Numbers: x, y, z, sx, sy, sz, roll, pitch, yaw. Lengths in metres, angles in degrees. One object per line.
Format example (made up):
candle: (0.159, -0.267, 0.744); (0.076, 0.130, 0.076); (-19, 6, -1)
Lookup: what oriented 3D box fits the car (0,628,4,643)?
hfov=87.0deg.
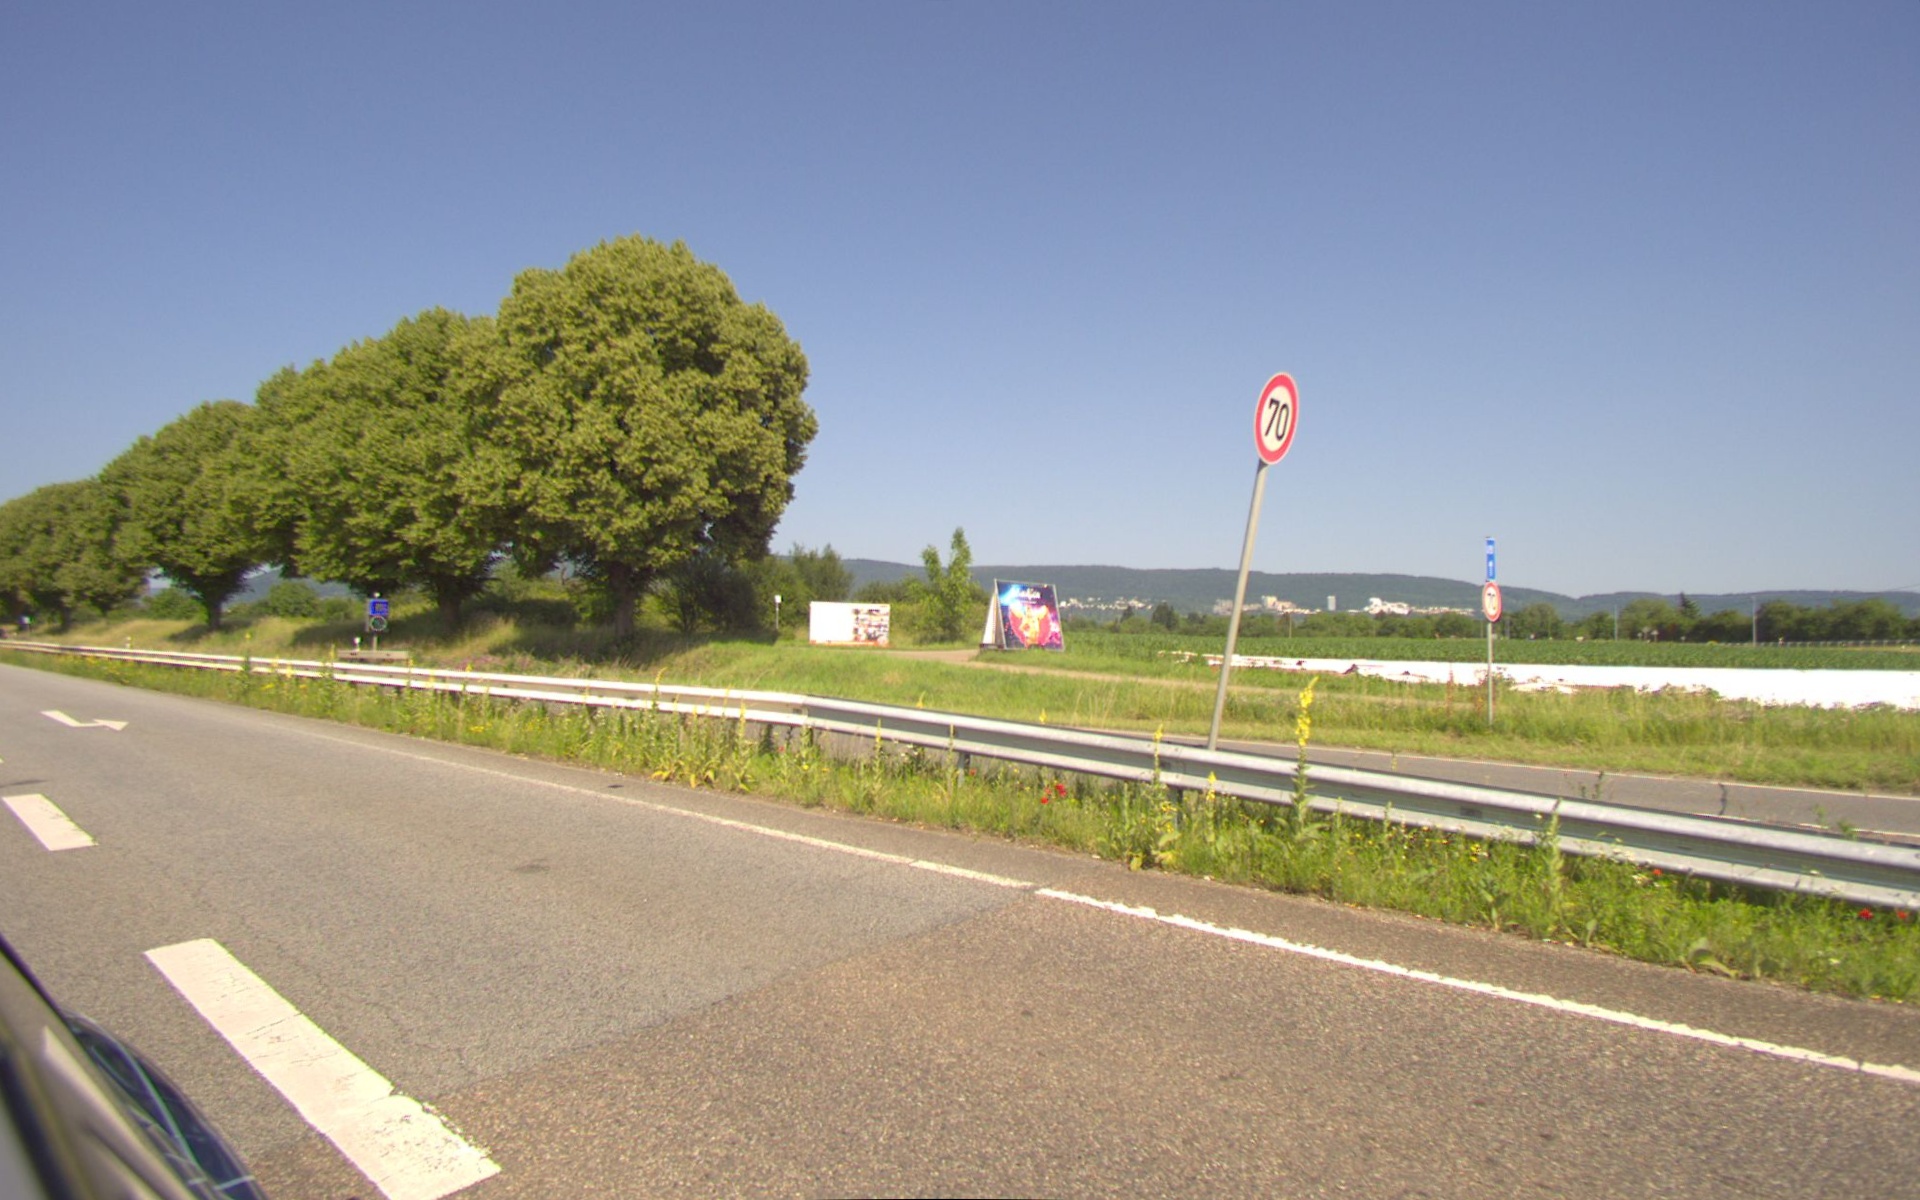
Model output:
car: (-95.131, 3.486, 99.146); (3.699, 1.475, 1.703); (-1, -4, 42)
